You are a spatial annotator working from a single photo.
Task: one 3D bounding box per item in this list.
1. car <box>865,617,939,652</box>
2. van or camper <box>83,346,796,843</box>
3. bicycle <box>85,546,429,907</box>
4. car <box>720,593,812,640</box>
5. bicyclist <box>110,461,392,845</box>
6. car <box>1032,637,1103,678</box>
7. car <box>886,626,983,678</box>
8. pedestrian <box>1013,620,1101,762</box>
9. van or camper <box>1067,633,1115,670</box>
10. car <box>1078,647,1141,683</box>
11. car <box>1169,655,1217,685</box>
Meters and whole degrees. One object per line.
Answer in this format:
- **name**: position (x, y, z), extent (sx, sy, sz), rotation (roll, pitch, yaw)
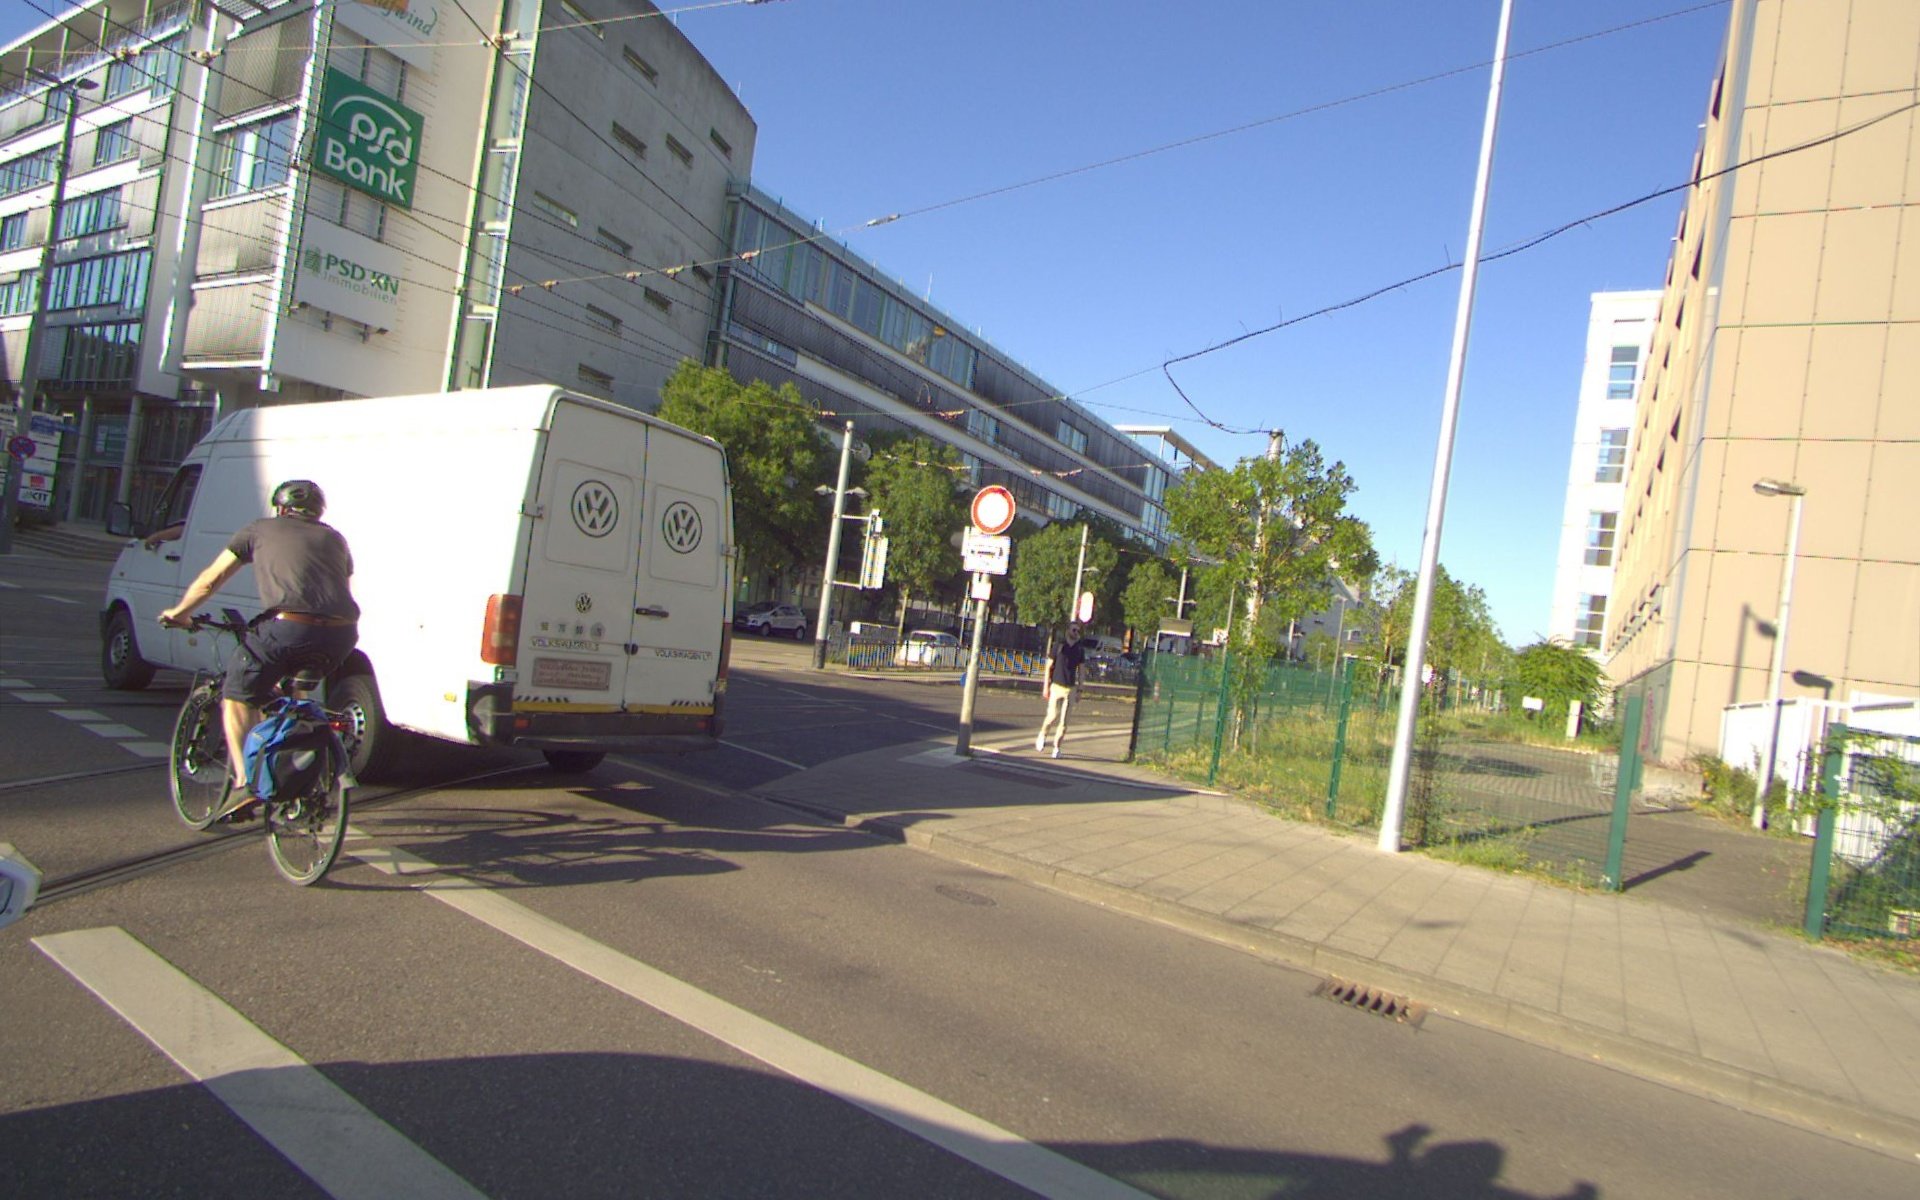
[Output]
- **car**: position (-3.296, 2.010, 57.801), extent (1.954, 1.512, 4.396), rotation (7, -2, 31)
- **van or camper**: position (-4.459, -0.237, 8.037), extent (6.202, 2.747, 1.973), rotation (7, -2, 33)
- **bicycle**: position (-3.384, 0.496, 4.764), extent (1.936, 1.296, 0.650), rotation (7, -1, 37)
- **car**: position (-9.194, 0.813, 47.951), extent (1.954, 1.715, 3.995), rotation (7, -1, 31)
- **bicyclist**: position (-3.417, 0.212, 4.833), extent (1.072, 1.622, 0.650), rotation (7, -1, 37)
- **car**: position (5.537, 2.958, 51.484), extent (1.967, 1.620, 3.995), rotation (7, -2, 31)
- **car**: position (-0.974, 2.123, 40.652), extent (1.967, 1.631, 3.995), rotation (7, -2, 31)
- **pedestrian**: position (1.342, 1.239, 14.092), extent (0.725, 1.833, 1.080), rotation (8, -2, -12)
- **van or camper**: position (10.553, 4.159, 80.976), extent (1.954, 2.533, 4.396), rotation (7, -1, 31)
- **car**: position (8.500, 3.682, 56.898), extent (1.967, 1.620, 3.995), rotation (7, -2, 31)
- **car**: position (16.067, 4.836, 69.180), extent (1.967, 1.620, 3.995), rotation (7, -2, 31)
